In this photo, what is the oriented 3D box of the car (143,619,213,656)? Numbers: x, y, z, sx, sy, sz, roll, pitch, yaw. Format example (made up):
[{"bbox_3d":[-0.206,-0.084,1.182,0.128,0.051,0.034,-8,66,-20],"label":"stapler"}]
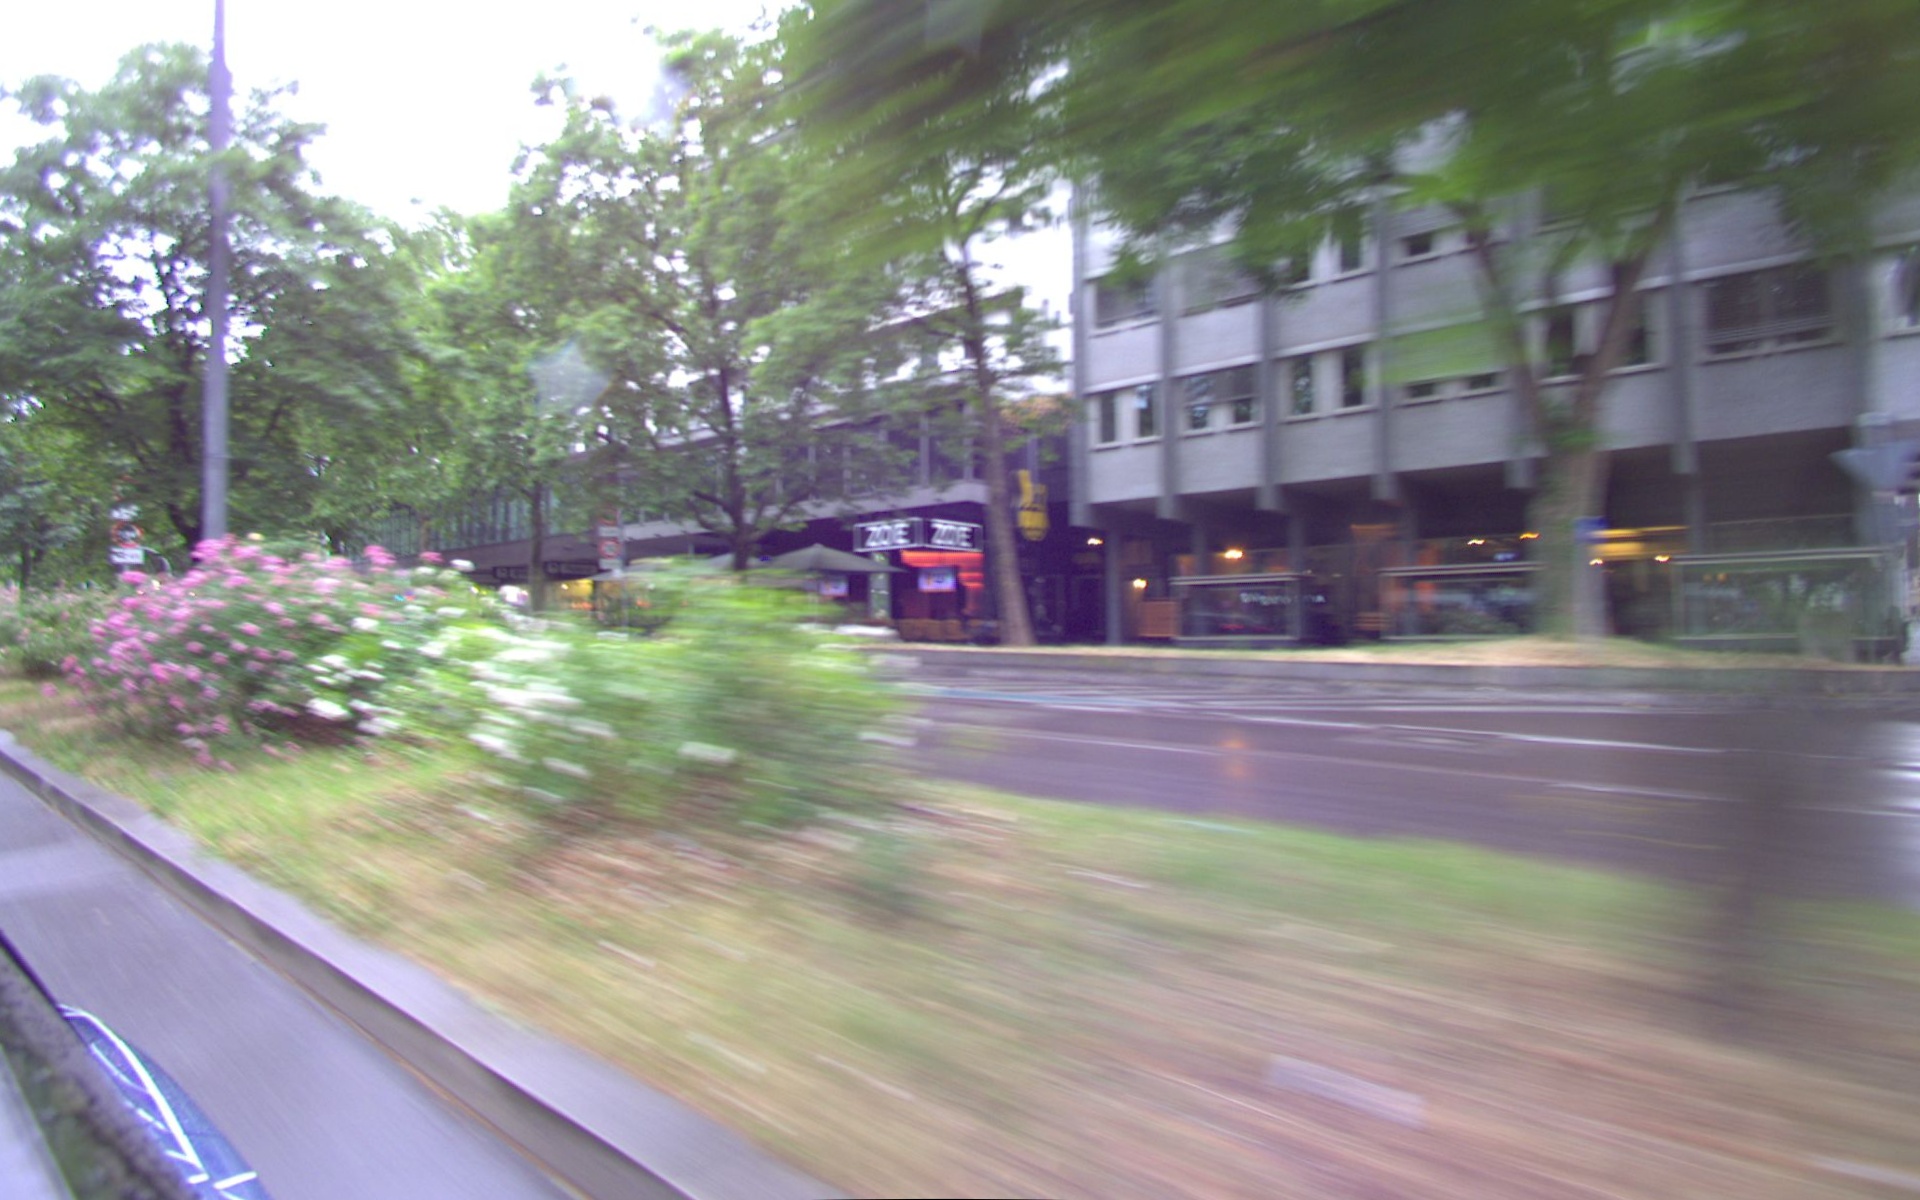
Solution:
[{"bbox_3d":[-32.940,1.554,42.583,4.032,1.476,1.621,-2,-1,41],"label":"car"}]
